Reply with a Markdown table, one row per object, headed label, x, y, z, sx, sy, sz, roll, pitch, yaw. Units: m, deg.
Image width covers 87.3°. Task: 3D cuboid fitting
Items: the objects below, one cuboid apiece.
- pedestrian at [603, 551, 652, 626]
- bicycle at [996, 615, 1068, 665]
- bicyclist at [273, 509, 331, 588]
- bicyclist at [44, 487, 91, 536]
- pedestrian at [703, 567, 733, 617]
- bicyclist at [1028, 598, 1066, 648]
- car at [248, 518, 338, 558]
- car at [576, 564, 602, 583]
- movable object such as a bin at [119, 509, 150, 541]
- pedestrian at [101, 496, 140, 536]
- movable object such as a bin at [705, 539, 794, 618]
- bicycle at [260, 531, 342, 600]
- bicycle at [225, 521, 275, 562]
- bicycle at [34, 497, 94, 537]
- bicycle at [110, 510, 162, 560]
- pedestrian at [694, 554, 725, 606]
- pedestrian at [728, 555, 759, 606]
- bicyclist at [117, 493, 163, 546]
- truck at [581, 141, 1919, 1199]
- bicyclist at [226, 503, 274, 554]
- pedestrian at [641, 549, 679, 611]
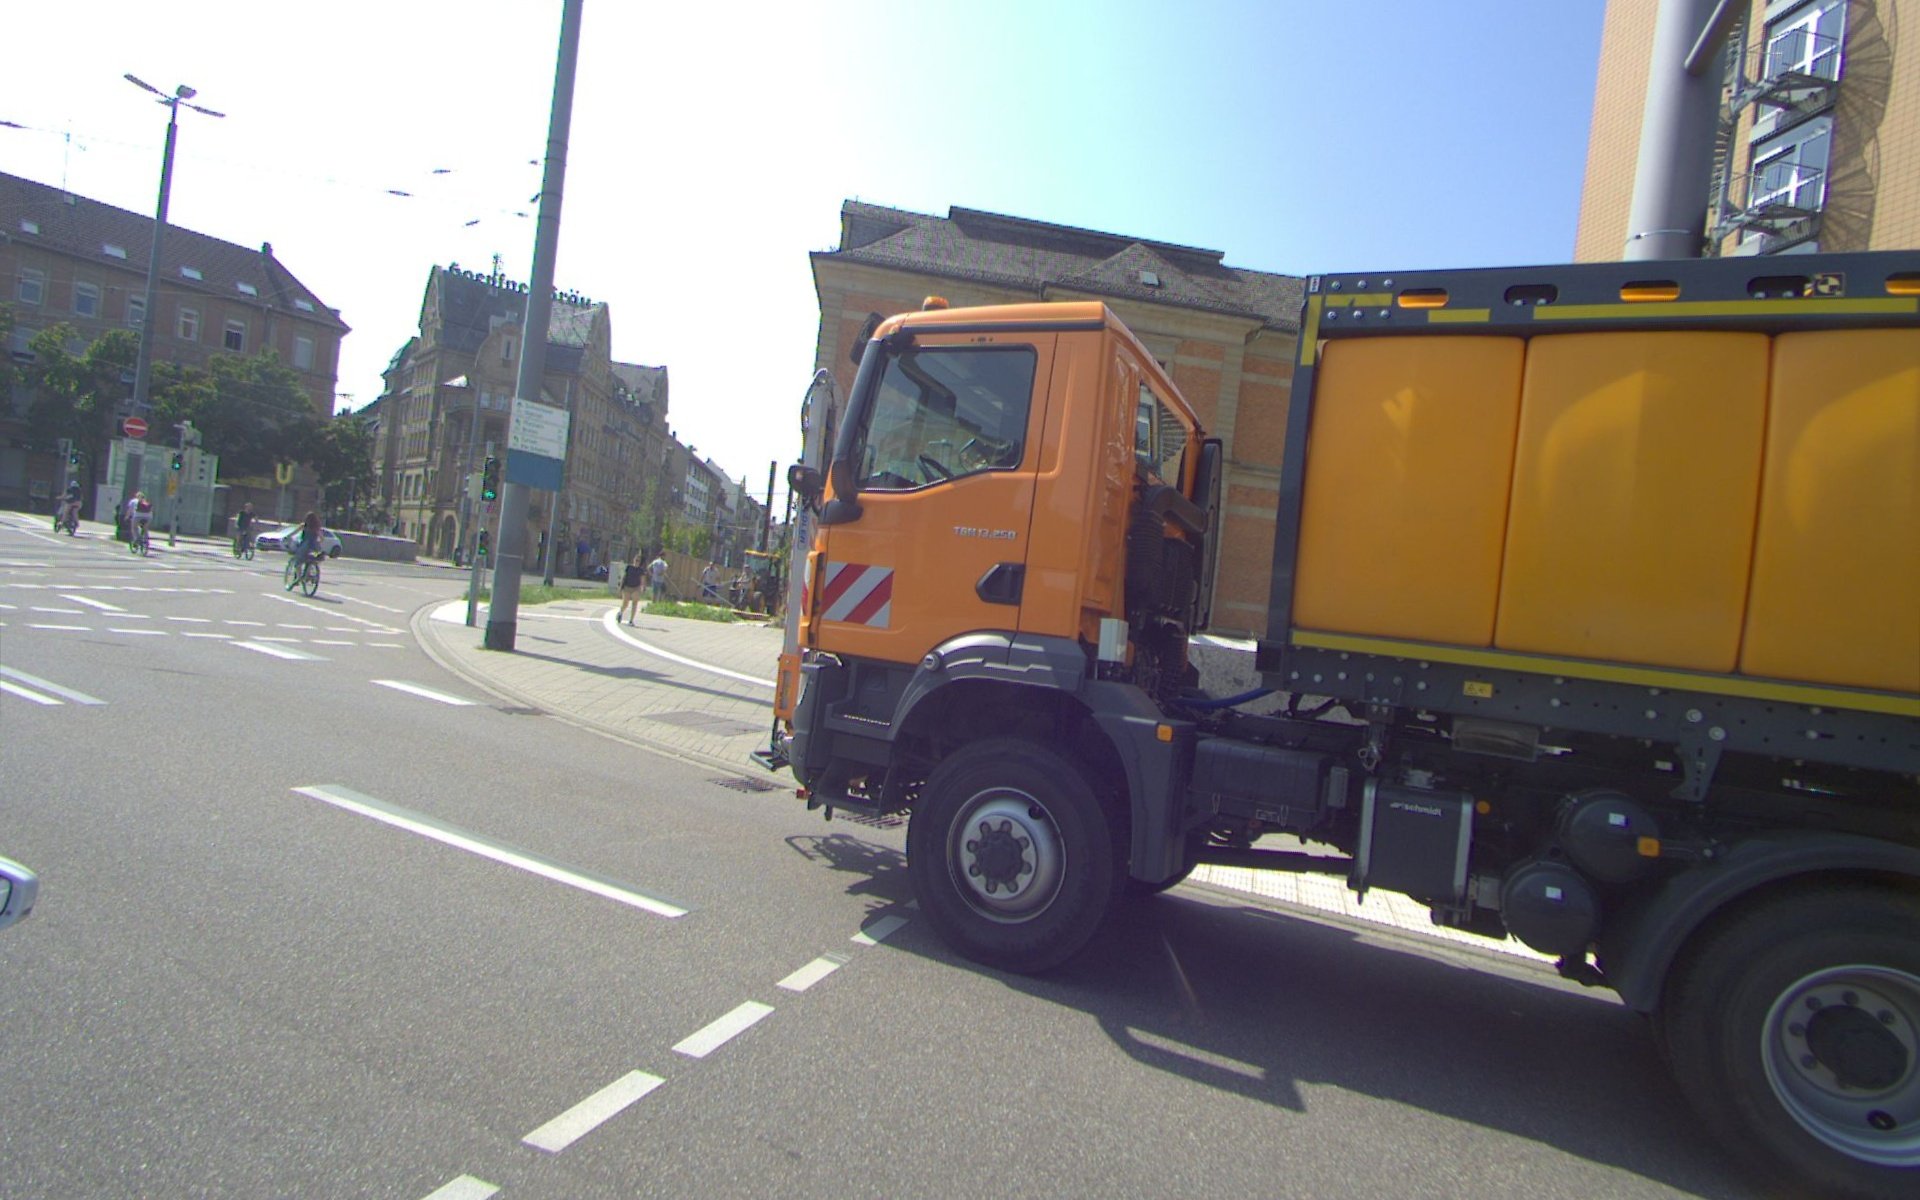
| label | x | y | z | sx | sy | sz | roll | pitch | yaw |
| --- | --- | --- | --- | --- | --- | --- | --- | --- | --- |
| pedestrian | -7.750 | -0.273 | 23.423 | 0.784 | 1.629 | 0.942 | 5 | 1 | -30 |
| bicycle | 2.008 | 1.098 | 27.851 | 1.820 | 1.125 | 0.713 | 7 | 0 | 7 |
| bicyclist | -13.552 | -1.057 | 20.721 | 0.633 | 1.499 | 0.657 | 7 | 1 | 30 |
| bicyclist | -27.632 | -2.735 | 31.152 | 0.906 | 1.336 | 0.748 | 7 | 1 | 30 |
| pedestrian | -8.723 | -0.282 | 36.296 | 0.678 | 1.693 | 0.679 | 6 | 1 | -36 |
| bicyclist | 2.419 | 0.644 | 27.836 | 0.848 | 1.249 | 1.102 | 7 | 0 | 8 |
| car | -32.044 | -2.953 | 48.485 | 1.558 | 1.303 | 3.731 | 7 | -2 | 4 |
| car | -34.664 | -2.468 | 93.989 | 1.351 | 1.414 | 3.255 | 7 | -2 | -6 |
| movable object such as a bin | -31.753 | -2.868 | 38.702 | 0.815 | 1.097 | 1.027 | 8 | -2 | -41 |
| pedestrian | -32.687 | -3.270 | 39.180 | 0.801 | 1.368 | 0.720 | 7 | 1 | 15 |
| movable object such as a bin | -8.118 | -0.755 | 39.204 | 1.783 | 2.704 | 4.457 | 7 | 0 | 7 |
| bicycle | -13.642 | -0.724 | 20.795 | 2.092 | 1.125 | 0.440 | 9 | 2 | 30 |
| bicycle | -22.761 | -1.871 | 32.242 | 1.924 | 1.139 | 0.471 | 6 | -1 | 30 |
| bicycle | -27.902 | -2.588 | 31.323 | 2.335 | 1.010 | 0.645 | 7 | 0 | 30 |
| bicycle | -21.525 | -1.702 | 26.269 | 1.615 | 1.125 | 0.440 | 7 | 1 | 30 |
| pedestrian | -8.697 | -0.699 | 34.945 | 0.678 | 1.693 | 0.679 | 6 | 1 | -36 |
| pedestrian | -7.551 | -0.684 | 35.035 | 0.678 | 1.693 | 0.679 | 6 | 1 | -36 |
| bicyclist | -21.385 | -2.095 | 26.227 | 0.633 | 1.269 | 0.657 | 7 | 1 | 30 |
| truck | 1.978 | 0.141 | 5.199 | 7.063 | 3.267 | 3.042 | 7 | -1 | 26 |
| bicyclist | -22.753 | -2.291 | 32.248 | 0.914 | 1.439 | 0.803 | 6 | -2 | 30 |
| pedestrian | -9.443 | -0.626 | 31.670 | 0.678 | 1.836 | 1.029 | 6 | 1 | -36 |
